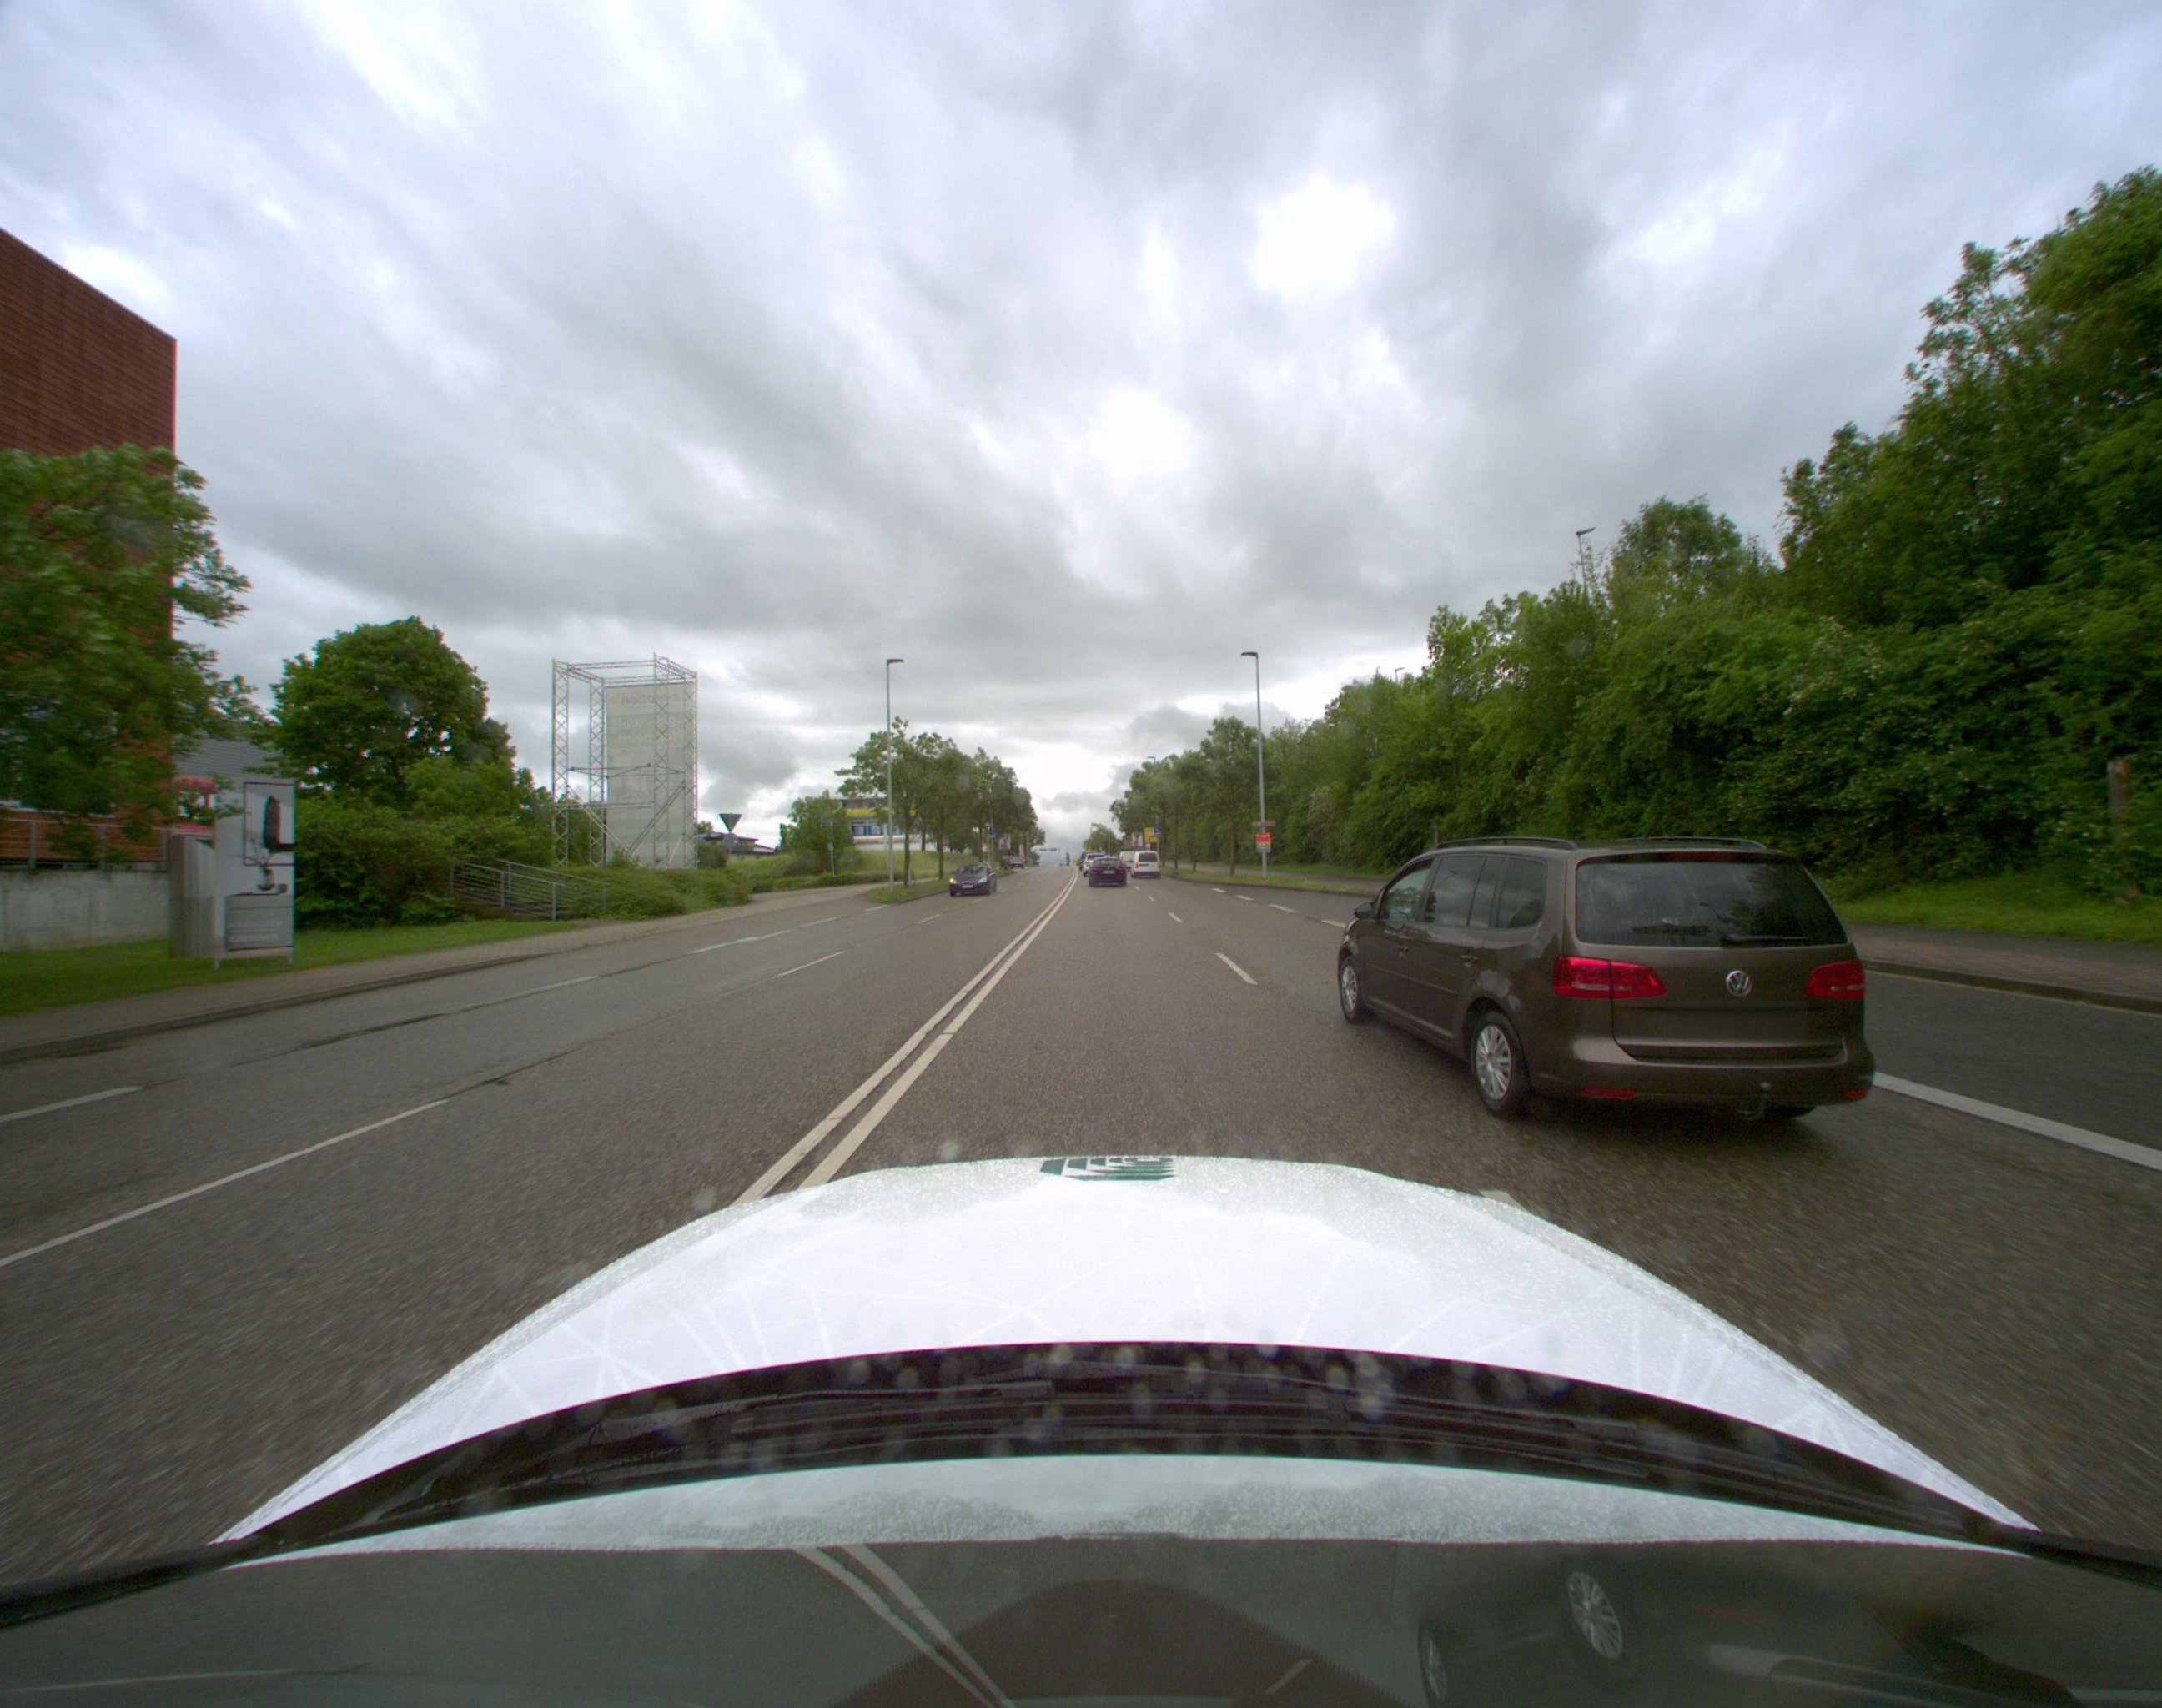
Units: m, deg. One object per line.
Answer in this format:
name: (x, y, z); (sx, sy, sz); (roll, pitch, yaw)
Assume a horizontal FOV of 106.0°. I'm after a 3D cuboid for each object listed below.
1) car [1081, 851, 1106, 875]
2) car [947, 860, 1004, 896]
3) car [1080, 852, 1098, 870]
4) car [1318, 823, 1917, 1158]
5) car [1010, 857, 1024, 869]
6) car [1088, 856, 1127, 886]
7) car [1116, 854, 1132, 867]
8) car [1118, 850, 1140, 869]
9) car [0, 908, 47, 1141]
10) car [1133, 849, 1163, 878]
car: (0.960, 0.676, 60.123); (1.721, 1.711, 3.384); (0, 0, 2)
car: (-4.798, 1.053, 37.648); (1.729, 1.454, 4.005); (-3, 0, 4)
car: (0.800, 0.720, 82.159); (1.752, 1.708, 3.946); (-2, 0, 1)
car: (3.199, 0.678, 6.010); (1.708, 1.596, 4.130); (-1, -1, 0)
car: (-8.816, 1.259, 112.245); (1.721, 1.668, 4.486); (0, 0, -1)
car: (1.304, 0.803, 40.693); (1.848, 1.419, 3.958); (0, 0, 1)
car: (4.782, 0.700, 91.101); (1.595, 1.372, 3.680); (-2, 0, 0)
car: (4.496, 0.492, 76.458); (1.808, 1.708, 3.946); (-2, 0, 1)
car: (-8.080, 1.168, 3.505); (1.668, 1.506, 4.221); (-3, 0, 4)
car: (4.395, 0.621, 53.995); (1.735, 1.869, 3.946); (0, 0, 1)
